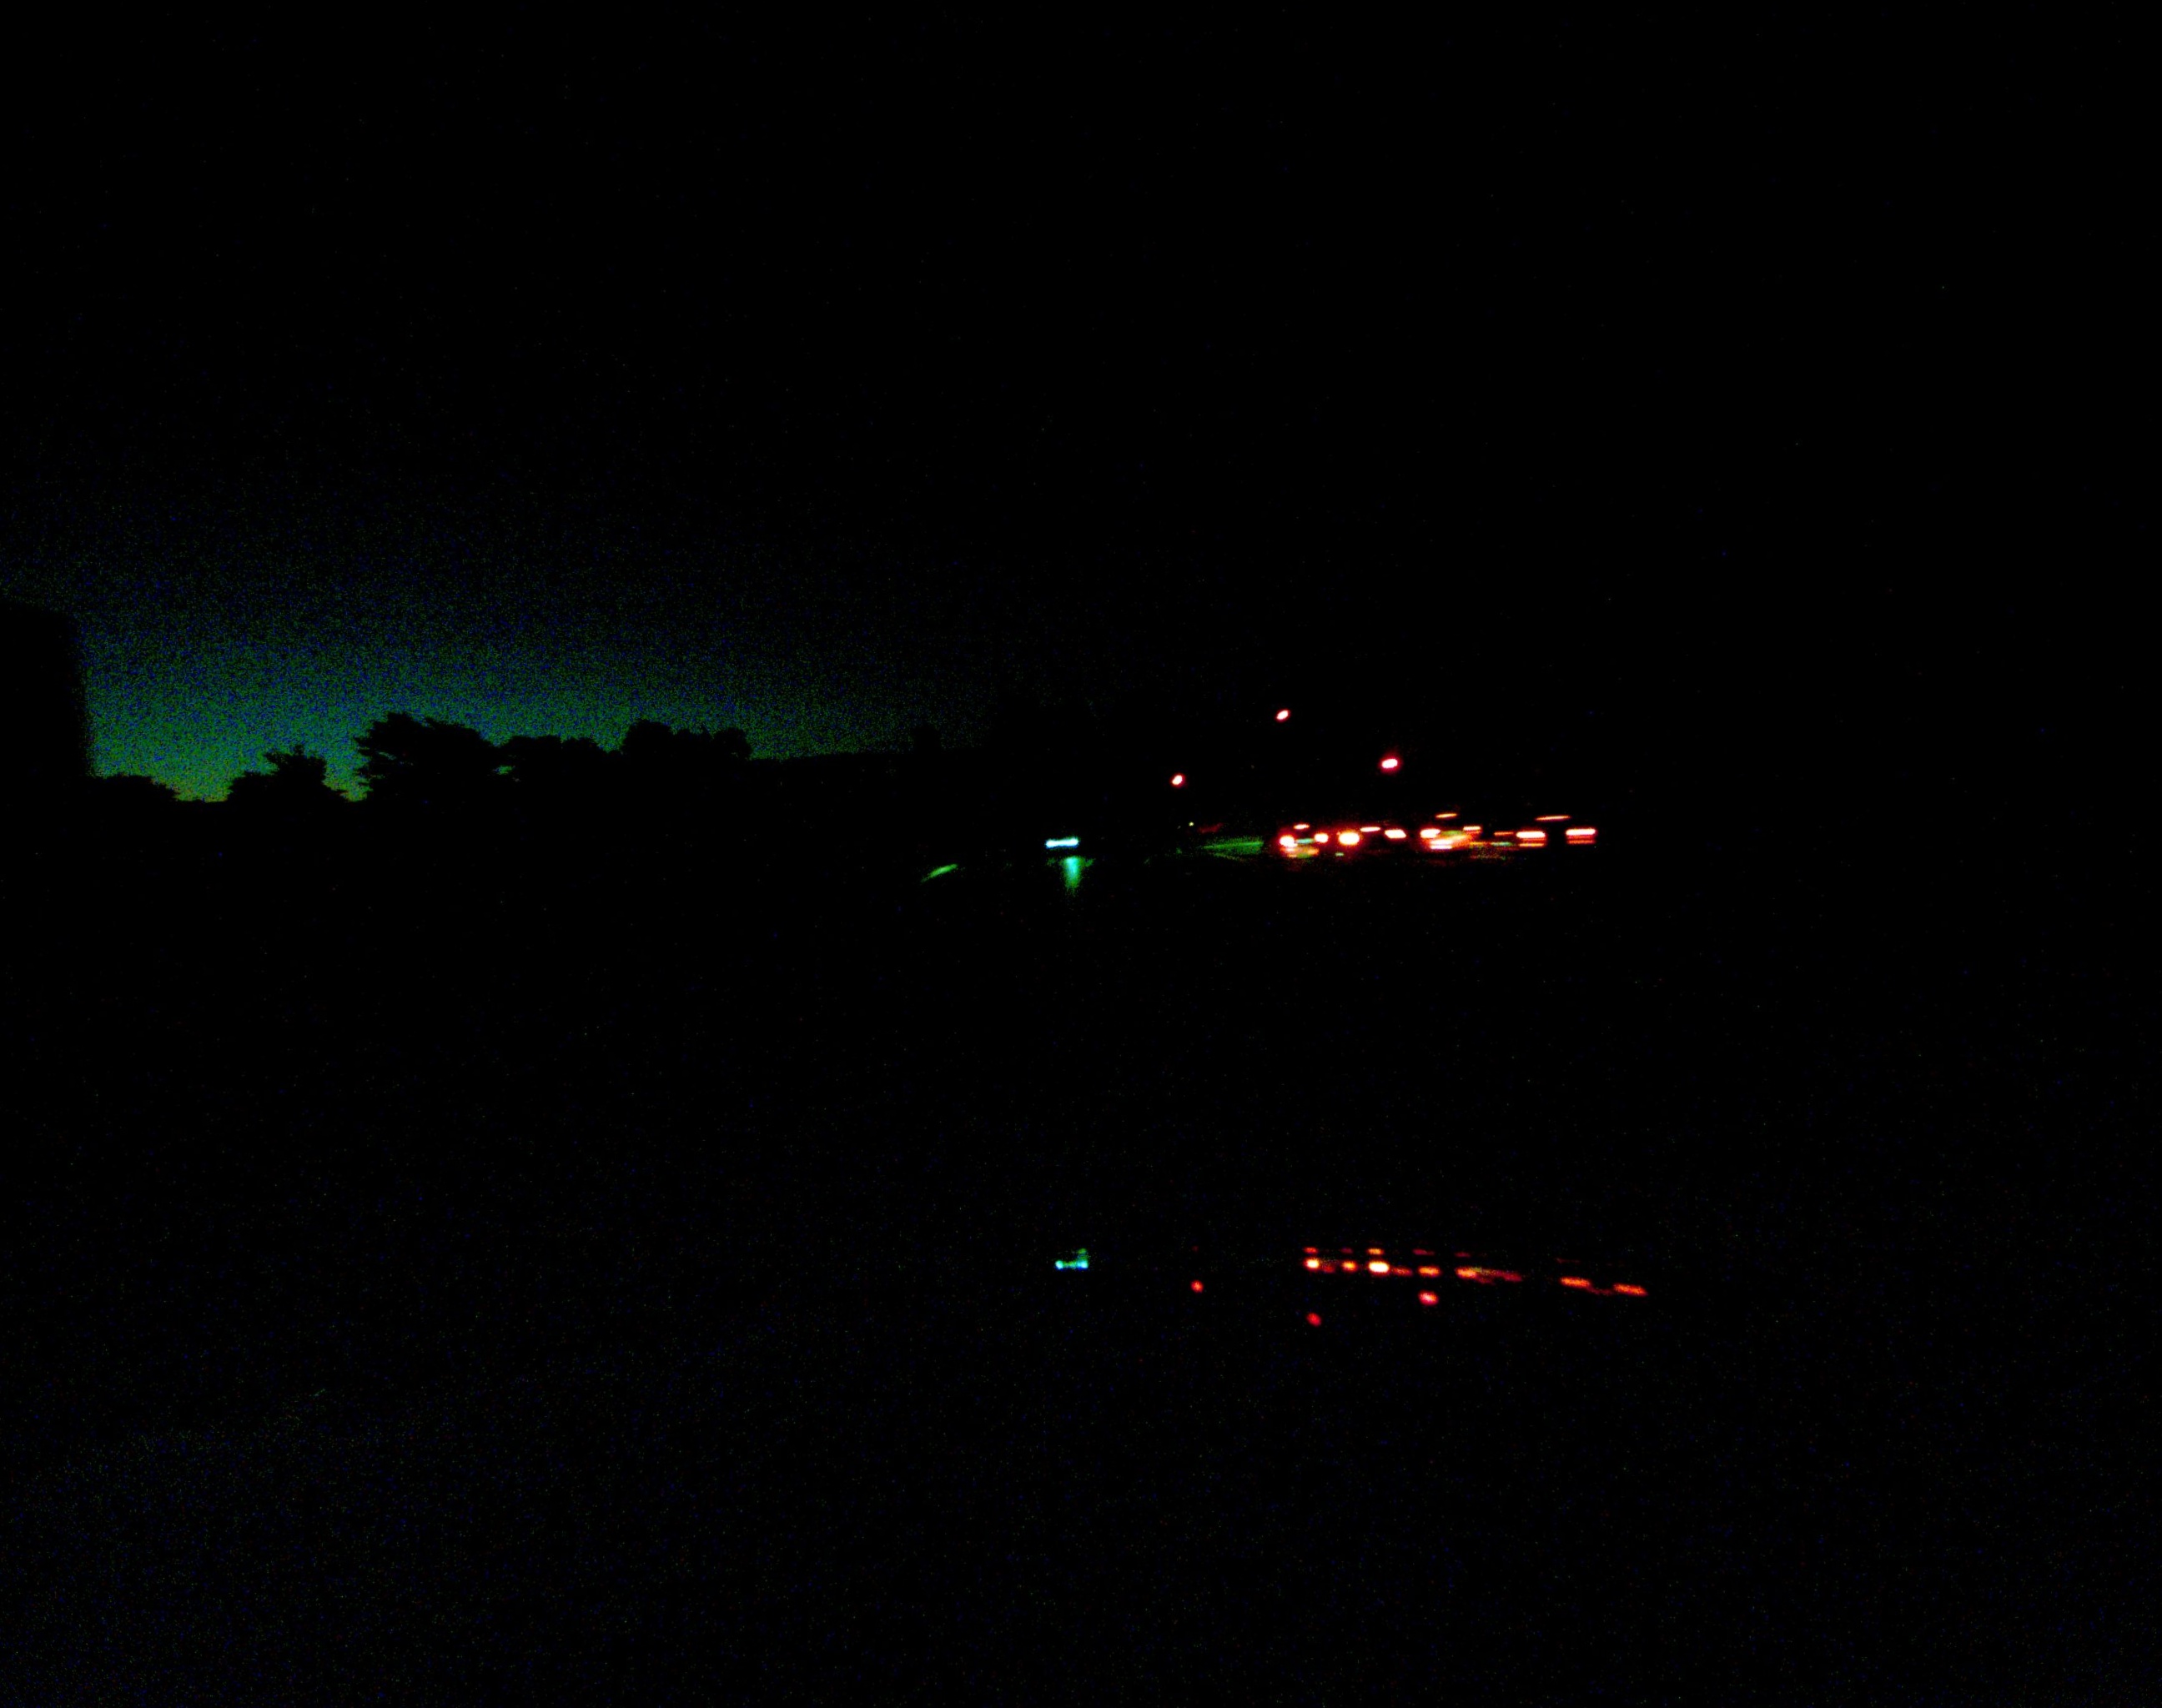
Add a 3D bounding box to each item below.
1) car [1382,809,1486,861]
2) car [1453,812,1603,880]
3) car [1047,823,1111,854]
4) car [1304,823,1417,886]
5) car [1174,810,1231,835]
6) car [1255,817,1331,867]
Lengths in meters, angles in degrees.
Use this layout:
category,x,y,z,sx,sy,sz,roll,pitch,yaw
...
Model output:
category,x,y,z,sx,sy,sz,roll,pitch,yaw
car,11.879,-0.722,25.848,1.758,1.453,3.998,-5,3,3
car,11.116,-0.268,19.225,1.687,1.452,3.811,-3,3,3
car,-0.055,-0.890,42.730,1.759,1.451,4.198,-3,2,27
car,7.438,-0.053,20.643,1.714,1.436,3.984,-4,2,3
car,8.391,-2.182,52.610,3.491,1.443,1.655,-5,2,-16
car,7.760,-0.499,28.124,1.703,1.467,3.867,-5,4,1
